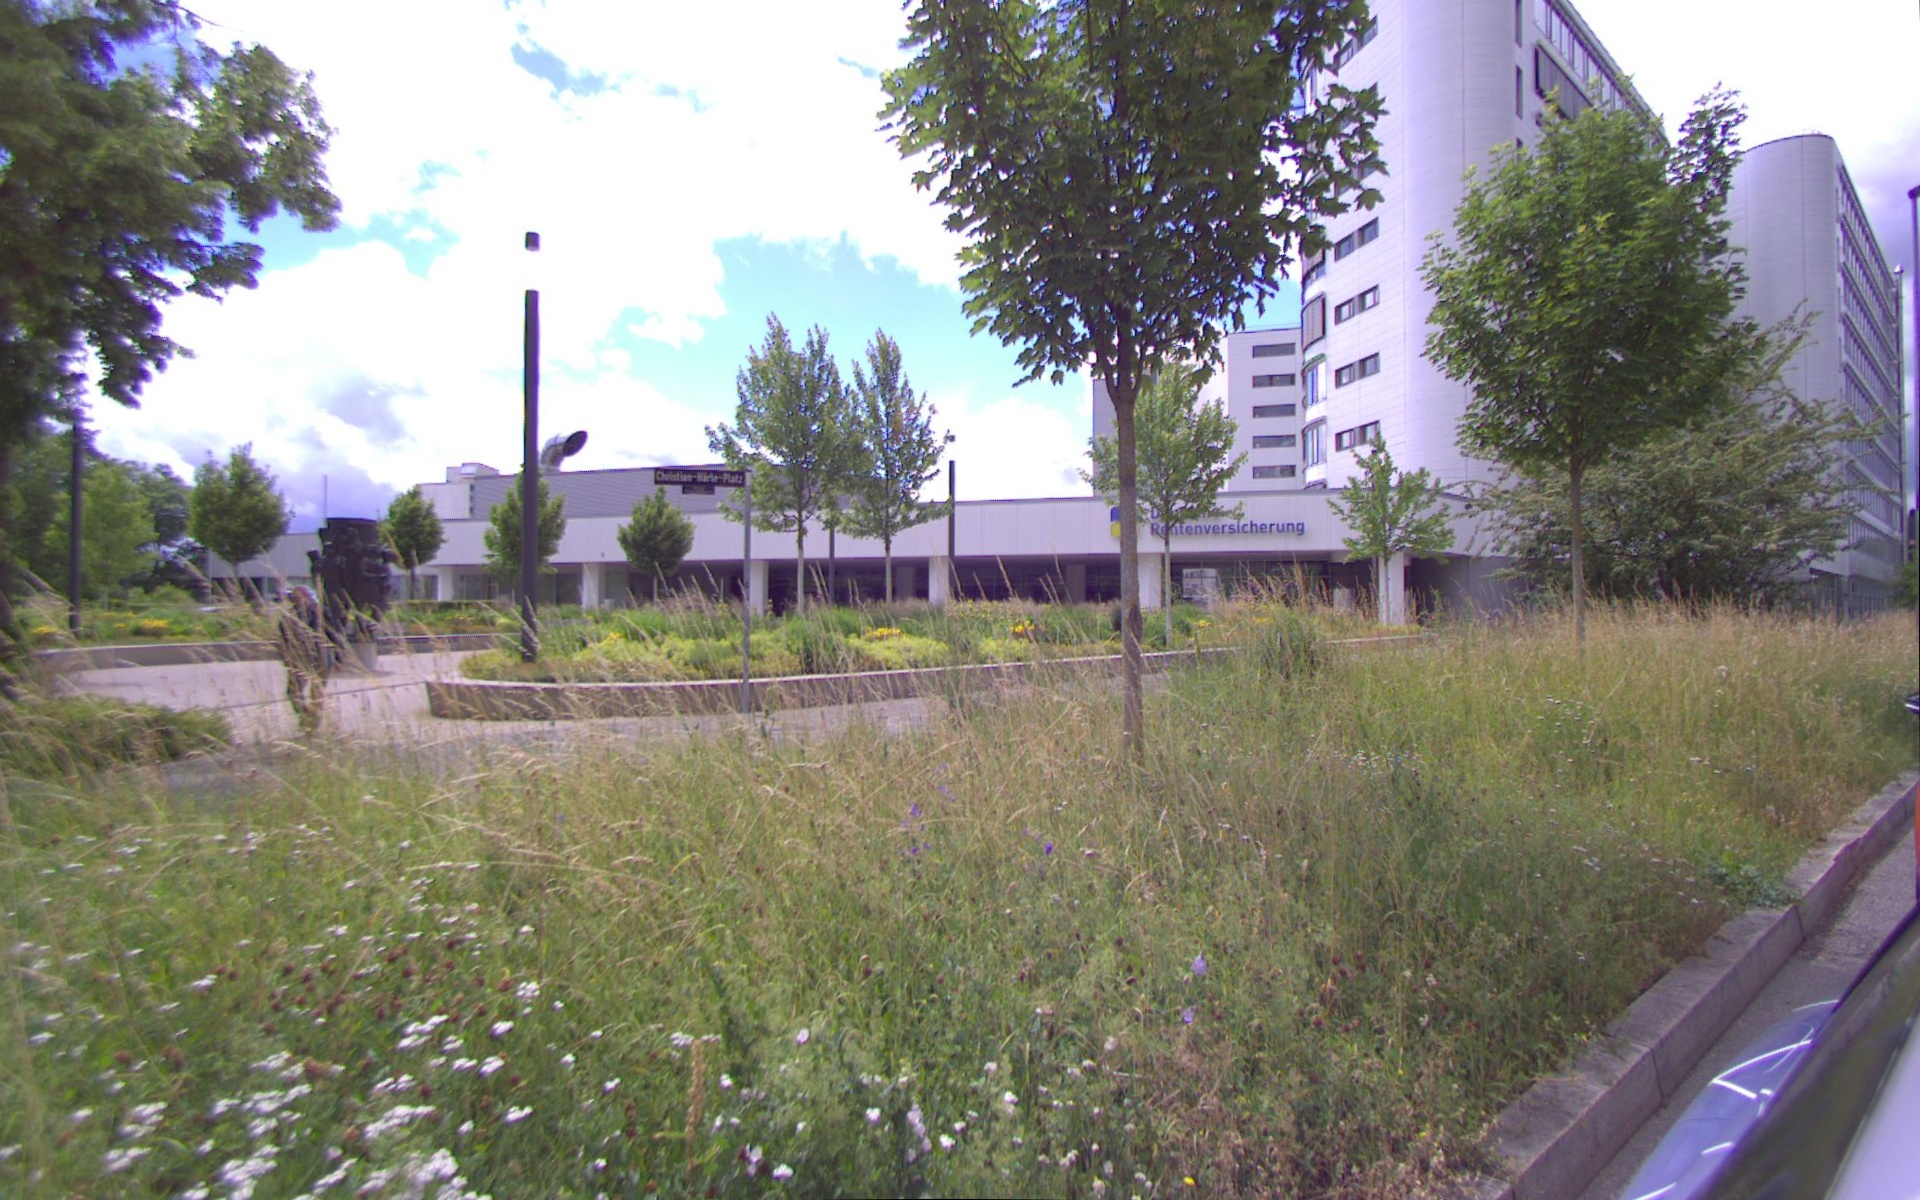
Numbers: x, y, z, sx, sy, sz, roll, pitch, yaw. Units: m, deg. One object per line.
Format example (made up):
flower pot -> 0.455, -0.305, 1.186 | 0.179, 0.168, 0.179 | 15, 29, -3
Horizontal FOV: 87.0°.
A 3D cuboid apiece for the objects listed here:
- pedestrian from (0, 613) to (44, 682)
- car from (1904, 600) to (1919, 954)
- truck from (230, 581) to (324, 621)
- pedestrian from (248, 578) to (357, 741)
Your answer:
pedestrian -> -17.399, 0.857, 18.706 | 0.621, 1.238, 0.620 | 1, 0, -36
car -> 5.808, 0.750, 4.650 | 3.611, 1.434, 1.748 | 0, 1, -41
truck -> -36.149, 0.054, 53.583 | 3.941, 2.039, 1.991 | 1, 0, 14
pedestrian -> -6.915, 0.599, 10.684 | 0.756, 1.646, 0.766 | 0, 0, -15
